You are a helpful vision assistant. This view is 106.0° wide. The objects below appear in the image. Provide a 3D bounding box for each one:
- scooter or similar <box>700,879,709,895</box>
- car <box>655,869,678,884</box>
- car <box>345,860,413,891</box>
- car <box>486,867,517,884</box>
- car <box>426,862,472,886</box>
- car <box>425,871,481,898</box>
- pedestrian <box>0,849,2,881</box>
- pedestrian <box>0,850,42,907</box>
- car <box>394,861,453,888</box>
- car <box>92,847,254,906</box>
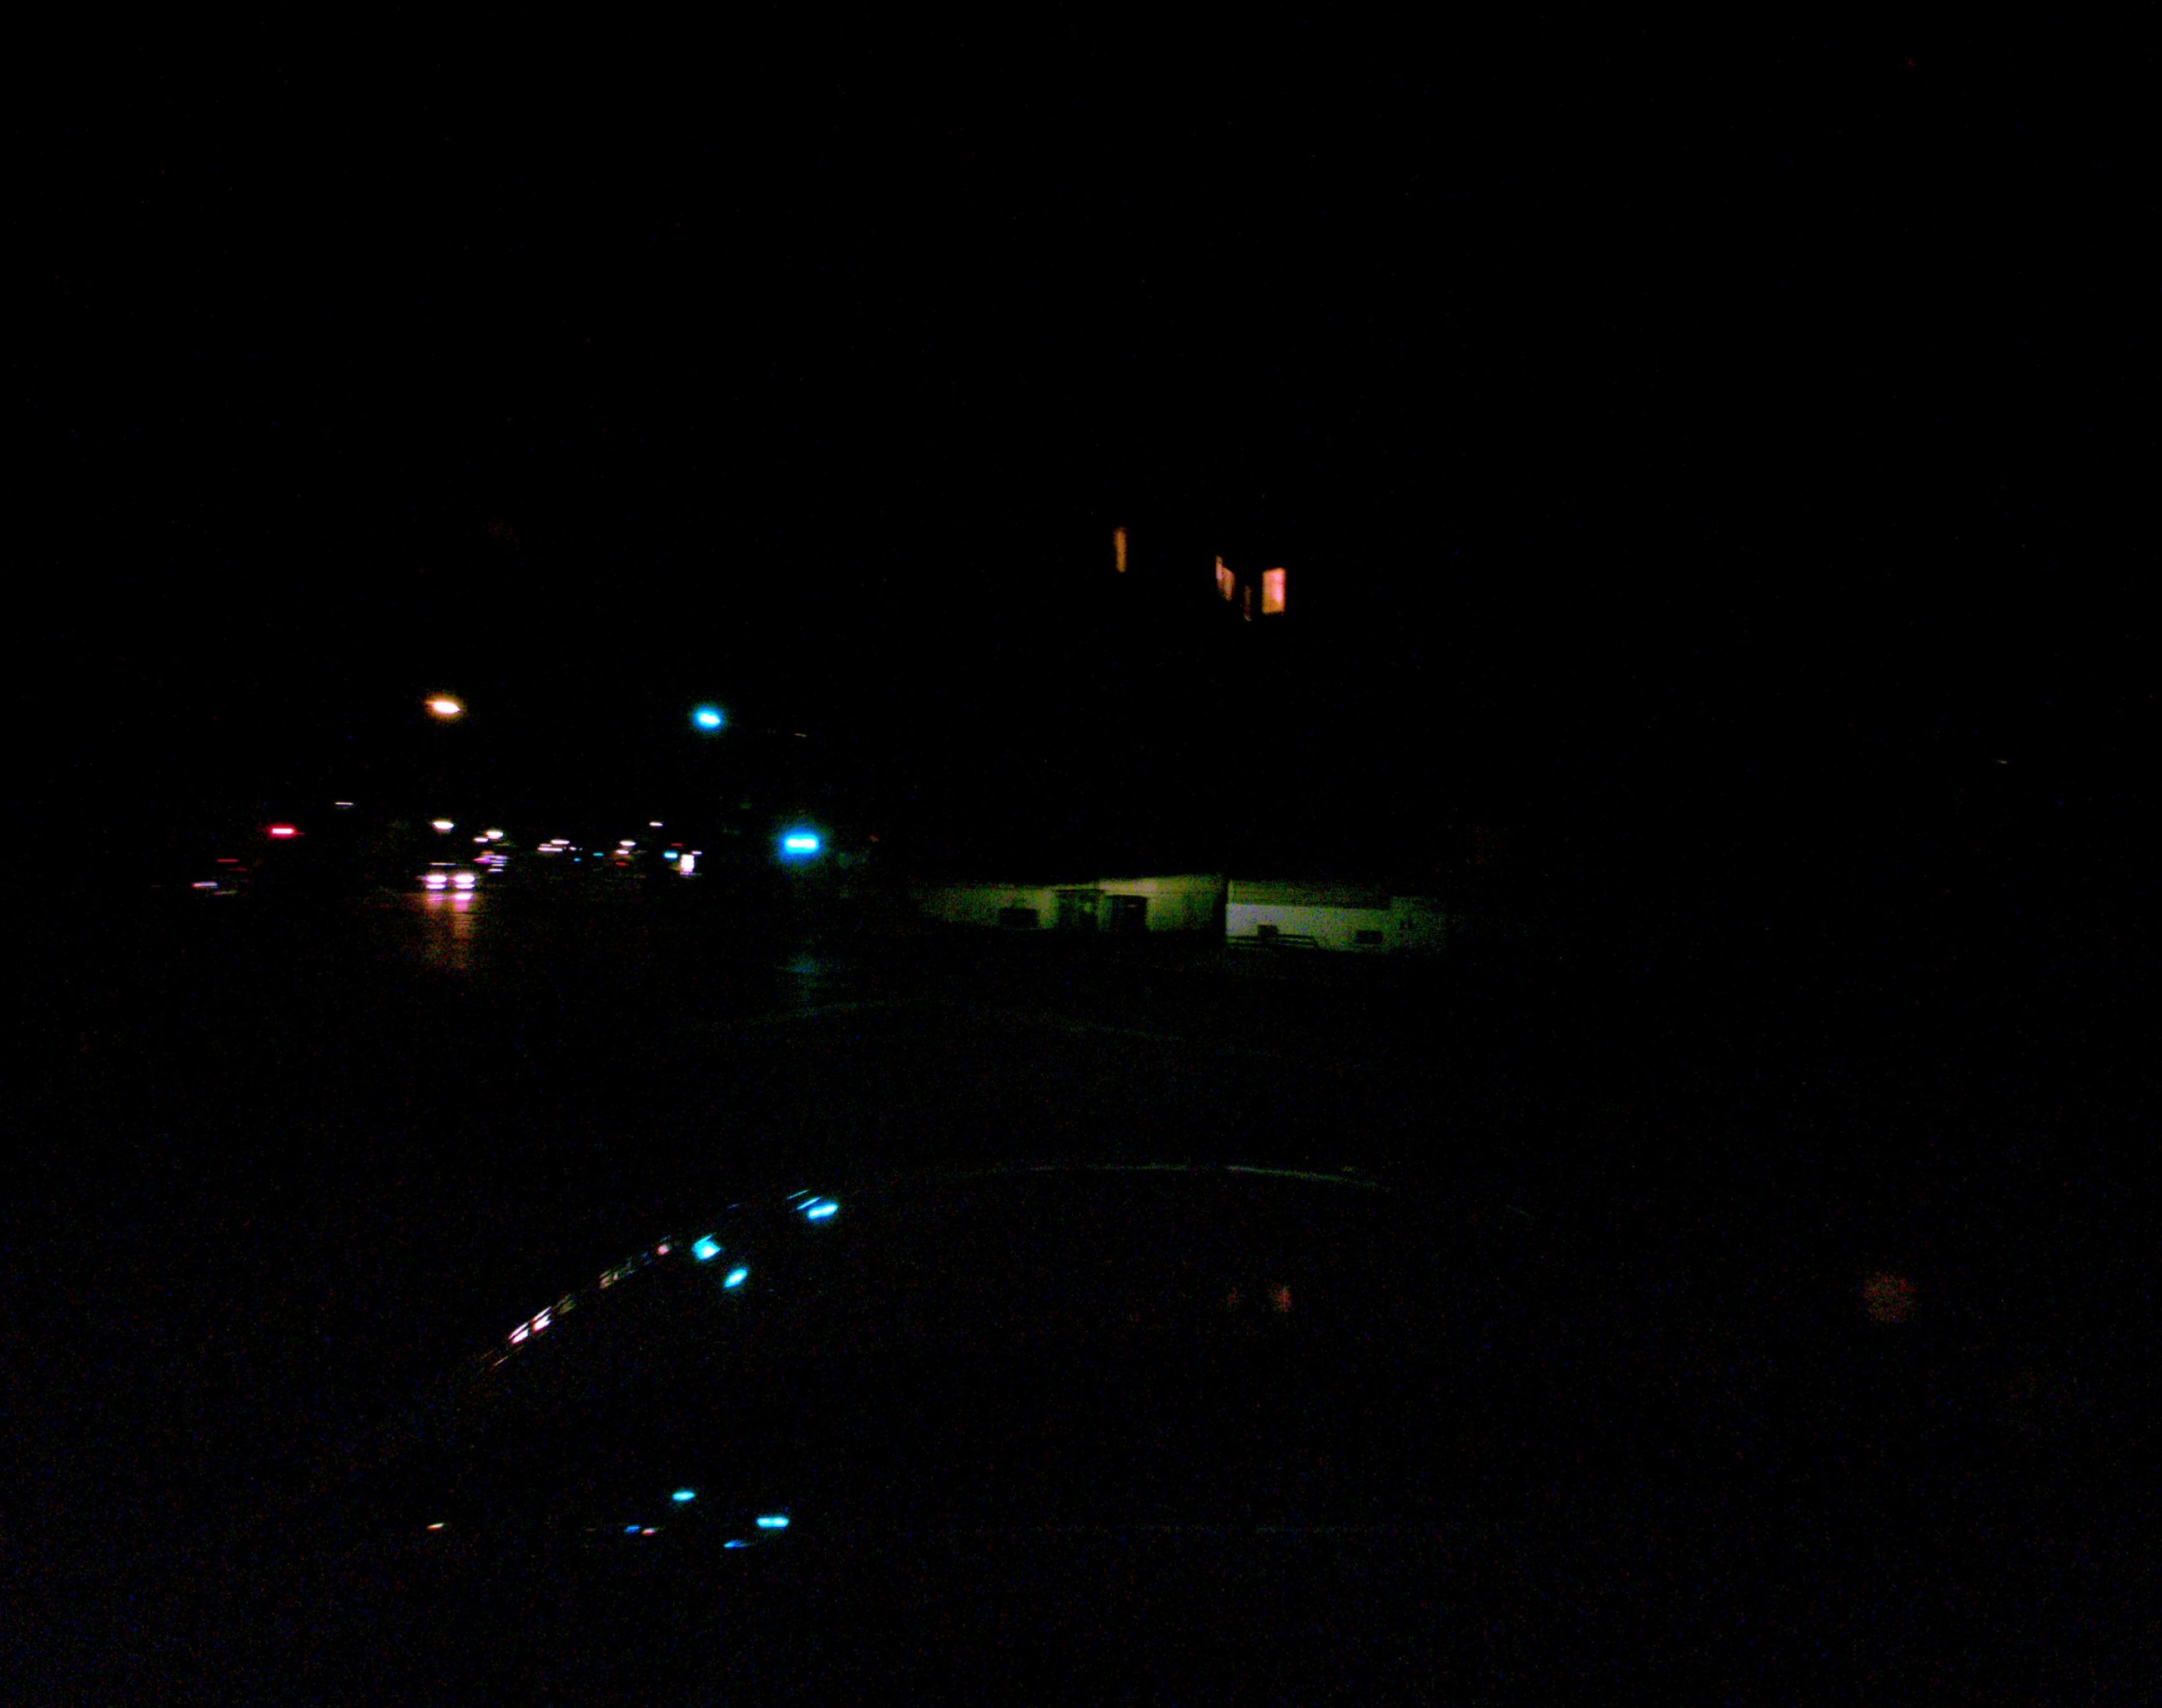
[{"bbox_3d":[-26.498,2.325,57.296,0.423,1.130,1.483,2,-2,-20],"label":"scooter or similar"},{"bbox_3d":[-45.390,2.442,89.197,1.745,1.460,4.680,4,-3,-32],"label":"car"},{"bbox_3d":[-37.715,1.154,43.865,1.599,1.492,3.670,6,-3,-23],"label":"car"},{"bbox_3d":[-53.436,1.977,75.103,1.795,1.416,4.087,5,-3,-29],"label":"car"},{"bbox_3d":[-43.980,1.389,56.737,1.795,1.492,3.962,6,-4,-29],"label":"car"},{"bbox_3d":[-34.846,1.678,45.288,1.725,1.430,3.964,1,-1,-27],"label":"car"},{"bbox_3d":[-33.420,0.678,24.455,0.711,1.691,0.991,2,-2,-18],"label":"pedestrian"},{"bbox_3d":[-32.593,0.722,24.728,0.711,1.691,1.117,2,-2,-18],"label":"pedestrian"},{"bbox_3d":[-41.283,1.275,51.245,1.793,1.492,4.292,6,-3,-26],"label":"car"},{"bbox_3d":[-28.143,0.713,25.432,1.895,1.597,3.989,5,-3,-26],"label":"car"}]
